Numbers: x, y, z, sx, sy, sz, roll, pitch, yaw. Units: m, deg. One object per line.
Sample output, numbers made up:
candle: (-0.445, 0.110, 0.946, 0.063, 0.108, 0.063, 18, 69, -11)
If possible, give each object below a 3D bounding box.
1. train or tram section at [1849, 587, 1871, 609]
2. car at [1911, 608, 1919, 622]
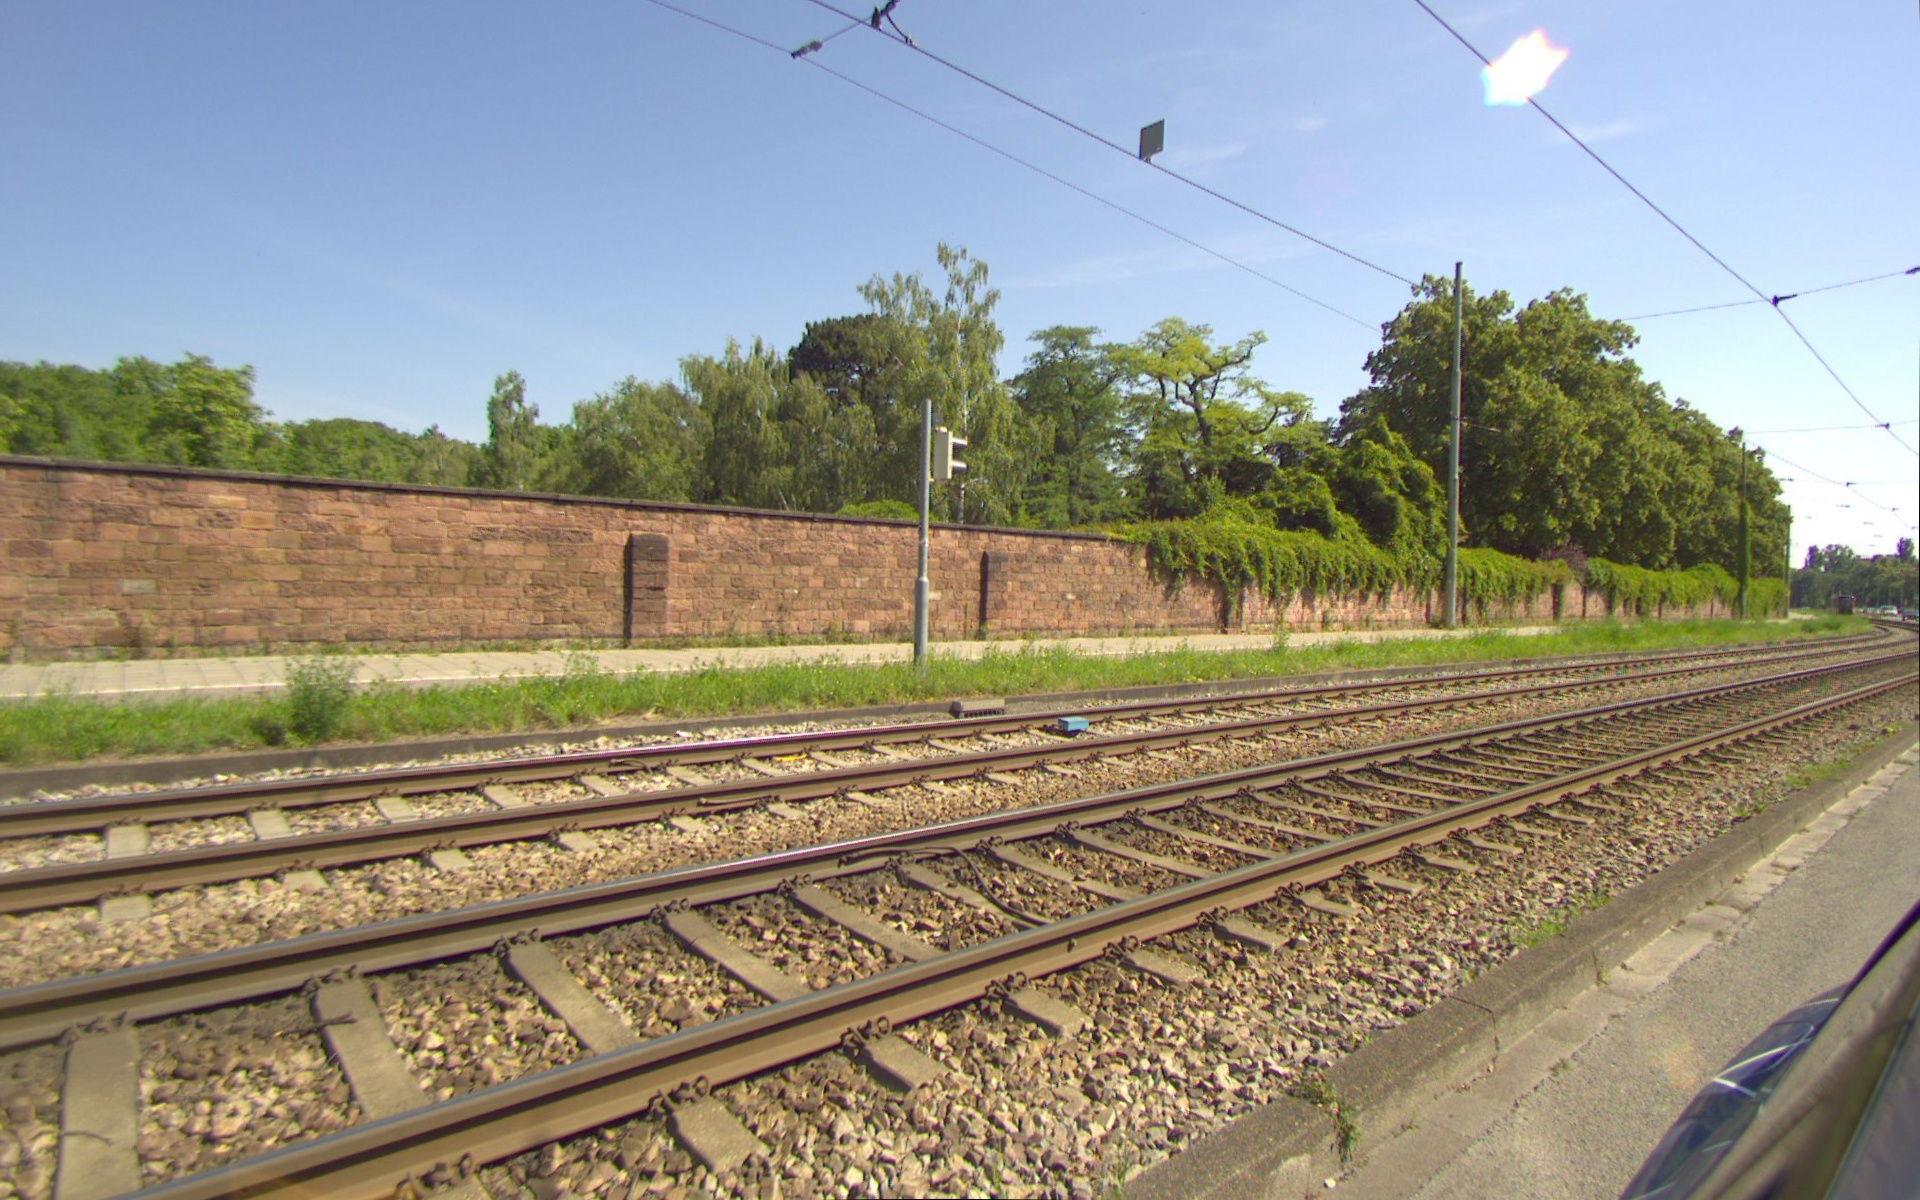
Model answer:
train or tram section: (163.225, -0.365, 183.472, 2.713, 3.785, 18.586, 1, 0, 43)
car: (123.765, 1.867, 130.175, 3.933, 1.738, 1.851, -1, 0, -43)
